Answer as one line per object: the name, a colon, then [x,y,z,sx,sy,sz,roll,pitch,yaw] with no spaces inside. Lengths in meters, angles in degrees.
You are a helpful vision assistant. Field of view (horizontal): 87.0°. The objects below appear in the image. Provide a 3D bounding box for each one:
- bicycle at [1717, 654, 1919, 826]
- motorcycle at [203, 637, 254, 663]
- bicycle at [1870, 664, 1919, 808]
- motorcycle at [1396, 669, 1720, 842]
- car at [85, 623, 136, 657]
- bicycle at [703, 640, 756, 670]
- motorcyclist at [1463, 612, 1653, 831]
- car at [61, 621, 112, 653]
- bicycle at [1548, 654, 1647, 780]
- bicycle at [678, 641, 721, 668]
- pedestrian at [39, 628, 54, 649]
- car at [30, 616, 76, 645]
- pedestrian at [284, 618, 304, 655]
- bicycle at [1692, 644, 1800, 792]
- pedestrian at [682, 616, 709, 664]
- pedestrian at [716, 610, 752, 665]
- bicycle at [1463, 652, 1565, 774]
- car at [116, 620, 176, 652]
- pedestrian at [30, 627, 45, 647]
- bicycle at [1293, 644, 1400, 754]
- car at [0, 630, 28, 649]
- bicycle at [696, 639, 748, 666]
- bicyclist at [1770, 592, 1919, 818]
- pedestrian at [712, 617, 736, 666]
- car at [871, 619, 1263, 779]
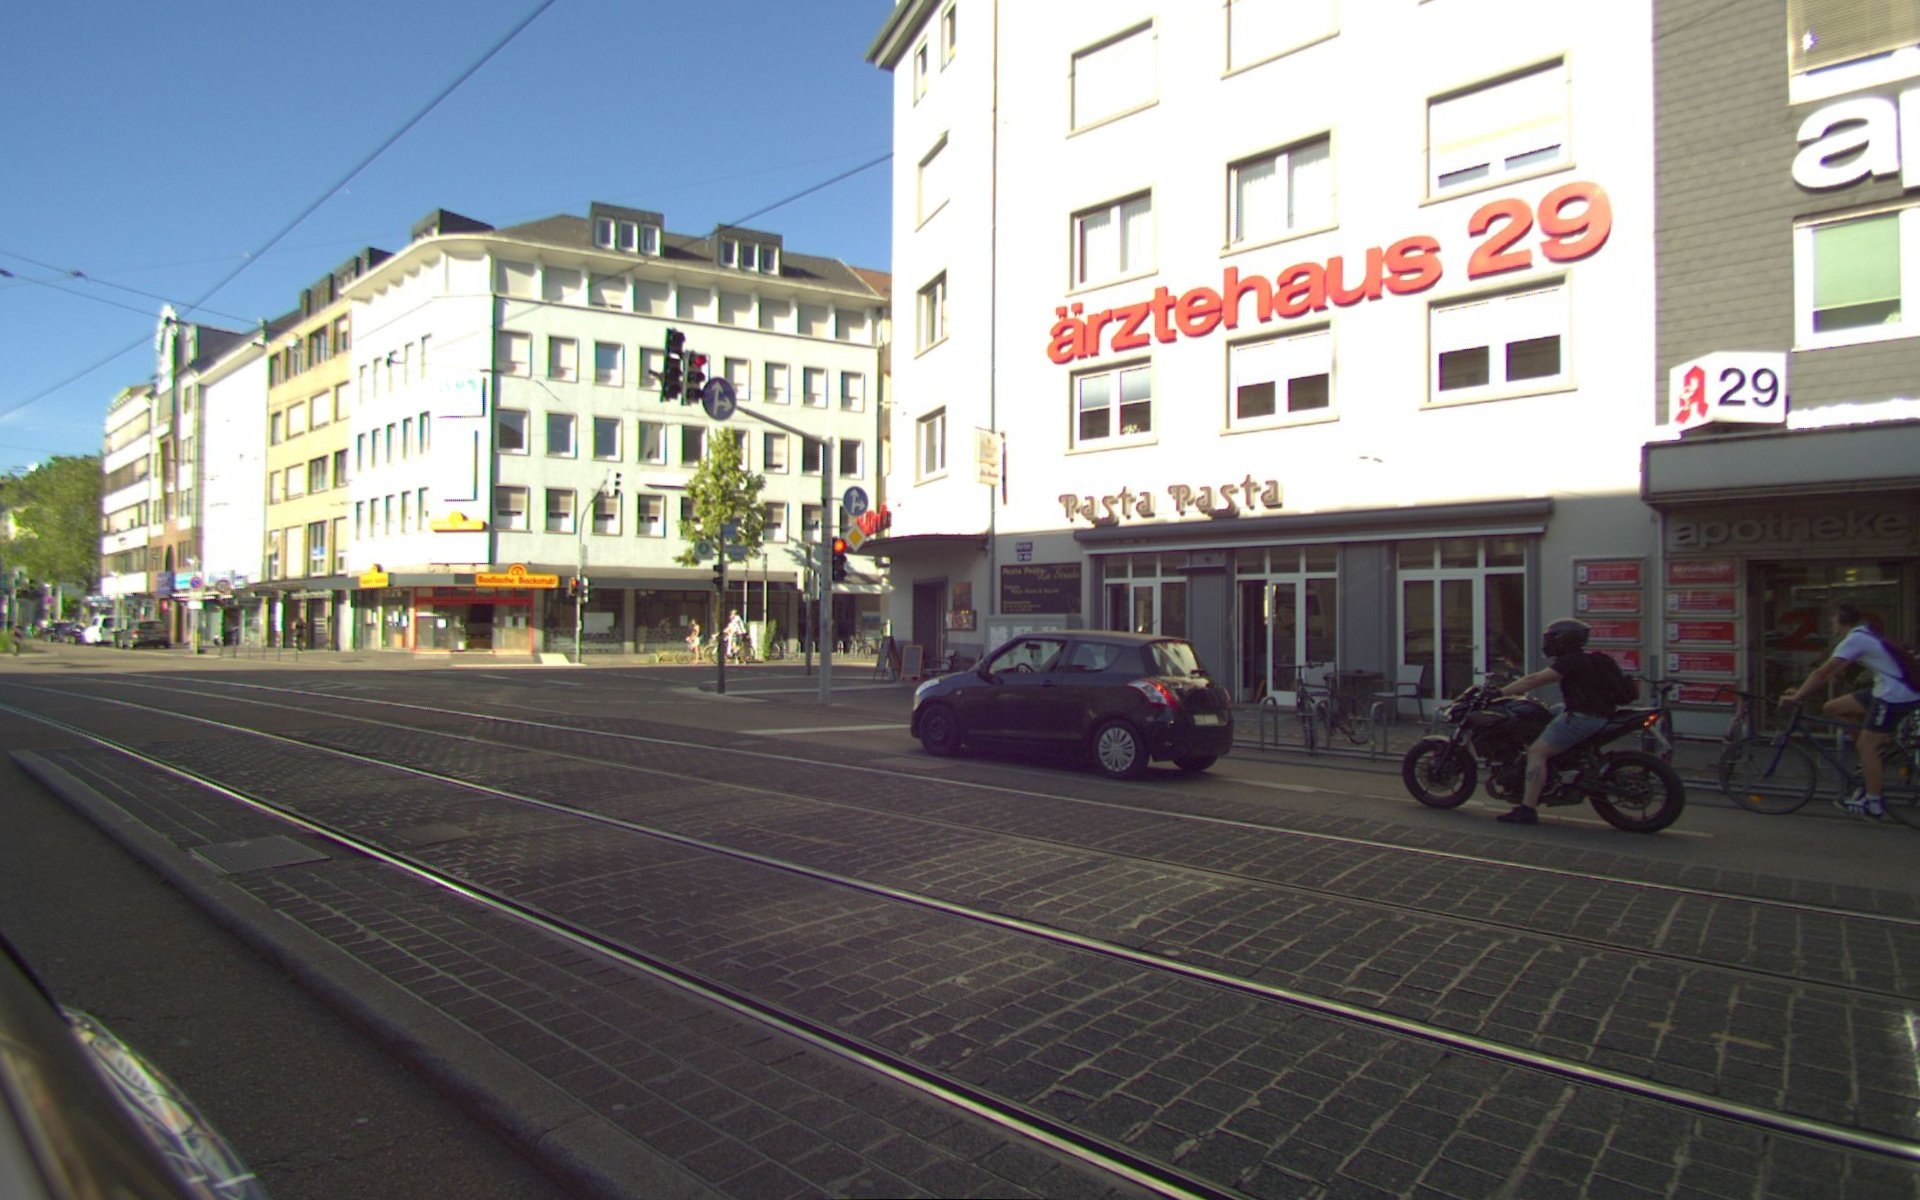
bicycle: [7.523,1.119,8.315,2.024,1.303,0.742,-1,-2,41]
motorcycle: [-43.675,2.985,60.432,0.999,1.517,2.226,-2,-3,38]
bicycle: [8.948,1.204,9.206,0.772,1.161,1.917,-1,-2,36]
motorcycle: [4.598,1.137,7.924,2.116,1.128,0.564,-1,-3,42]
car: [-52.907,2.465,63.010,4.844,2.029,1.971,-2,-3,44]
bicycle: [-8.156,1.953,35.825,1.697,1.015,0.762,2,-6,-37]
motorcyclist: [4.695,0.895,7.964,1.146,1.570,0.794,-1,-4,42]
car: [-57.390,2.425,66.484,3.998,2.029,1.972,-2,-3,41]
bicycle: [6.983,1.213,11.041,0.772,1.201,1.917,-1,-2,36]
bicycle: [-9.571,2.005,37.188,1.432,0.963,0.482,2,-3,-39]
pedestrian: [-76.252,3.209,84.447,0.571,1.728,0.707,0,-2,-5]
car: [-66.064,2.209,73.705,3.998,2.029,1.972,-2,-3,41]
pedestrian: [-31.307,1.720,47.563,0.700,1.722,0.562,1,-3,-28]
bicycle: [7.889,1.119,10.231,0.772,1.289,1.917,-1,-1,36]
pedestrian: [-9.678,1.465,37.023,0.644,1.725,0.794,2,-2,-39]
pedestrian: [-8.032,1.330,35.890,0.985,1.881,0.782,2,-5,-39]
bicycle: [6.347,1.233,11.548,0.772,1.181,1.917,-1,-1,36]
car: [-46.496,2.055,57.779,3.998,1.719,1.972,-2,-3,41]
pedestrian: [-76.897,3.112,84.398,0.571,1.637,0.707,0,-2,-5]
bicycle: [5.005,1.218,13.019,0.772,1.233,2.084,-1,-1,36]
car: [-94.438,3.890,99.468,1.999,1.811,3.944,-2,-3,42]
bicycle: [-8.580,1.886,36.493,1.765,0.975,0.555,2,-3,-37]
bicyclist: [7.424,0.826,8.304,1.146,1.742,0.742,-1,-2,42]
pedestrian: [-8.492,1.493,36.420,0.550,1.741,0.782,2,-2,-39]
car: [1.052,1.009,11.282,4.137,1.457,1.695,-2,-5,42]
